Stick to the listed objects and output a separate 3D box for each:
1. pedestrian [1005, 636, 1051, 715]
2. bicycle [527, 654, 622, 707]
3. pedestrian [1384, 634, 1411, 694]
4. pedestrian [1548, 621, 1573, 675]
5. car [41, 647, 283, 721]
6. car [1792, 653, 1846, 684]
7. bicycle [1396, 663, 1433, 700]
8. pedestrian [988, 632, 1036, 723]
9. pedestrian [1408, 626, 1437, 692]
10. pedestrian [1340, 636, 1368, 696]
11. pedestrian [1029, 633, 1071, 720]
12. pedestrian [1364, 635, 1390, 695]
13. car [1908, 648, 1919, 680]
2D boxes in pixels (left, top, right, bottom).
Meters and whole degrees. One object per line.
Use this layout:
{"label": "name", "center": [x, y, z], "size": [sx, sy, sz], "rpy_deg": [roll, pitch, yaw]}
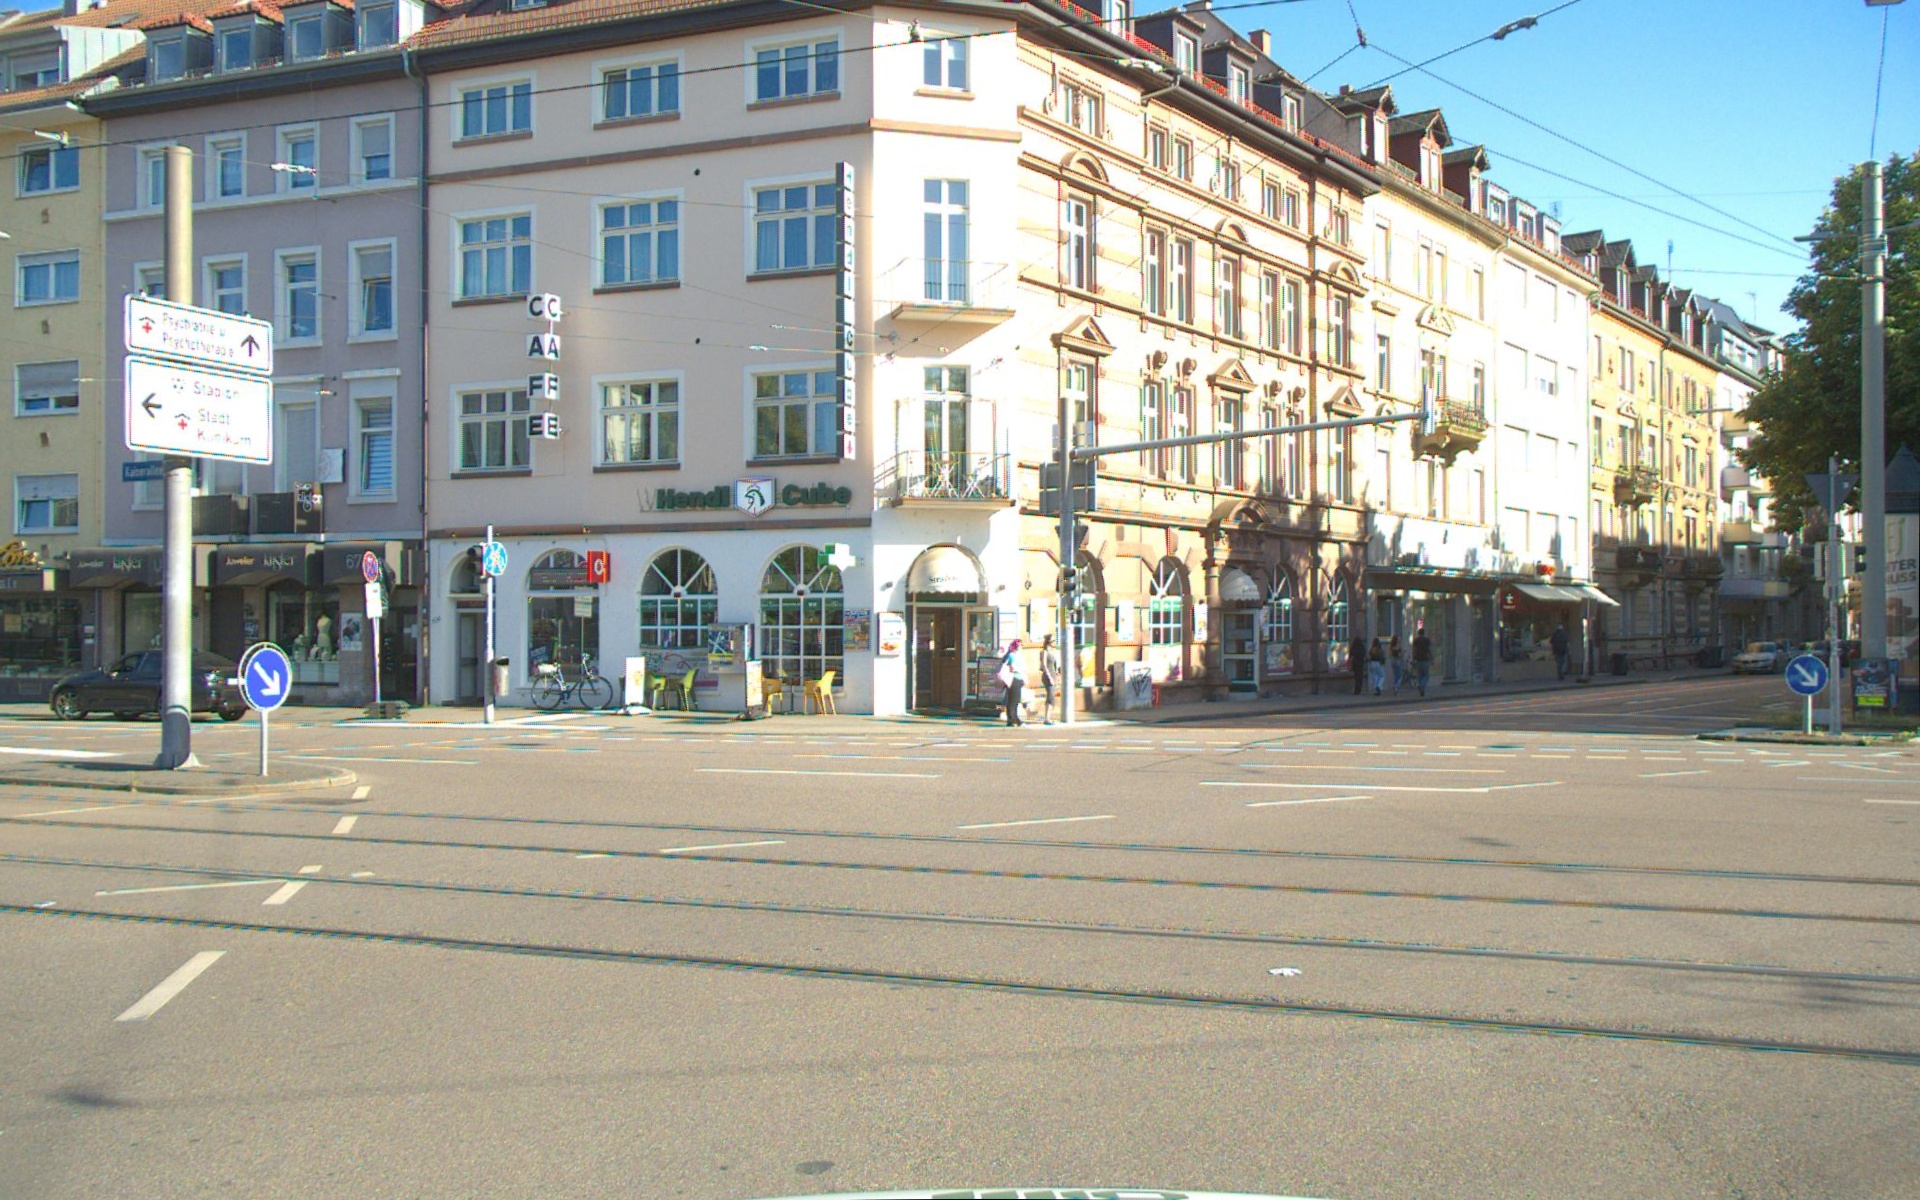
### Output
{"label": "pedestrian", "center": [1.353, 1.500, 32.901], "size": [0.649, 1.551, 0.689], "rpy_deg": [0, -2, -26]}
{"label": "bicycle", "center": [-8.145, 1.706, 34.987], "size": [1.902, 1.086, 0.584], "rpy_deg": [-1, -2, 14]}
{"label": "pedestrian", "center": [12.364, 1.796, 46.738], "size": [0.540, 1.671, 0.631], "rpy_deg": [-2, -2, 32]}
{"label": "pedestrian", "center": [21.812, 1.757, 60.048], "size": [0.671, 1.942, 0.630], "rpy_deg": [-2, -3, 37]}
{"label": "car", "center": [-16.463, 1.735, 34.140], "size": [4.542, 1.465, 1.745], "rpy_deg": [-1, -3, 18]}
{"label": "car", "center": [44.392, 3.543, 85.410], "size": [1.959, 1.523, 4.019], "rpy_deg": [-2, -2, 35]}
{"label": "bicycle", "center": [14.045, 2.517, 51.075], "size": [0.487, 1.086, 1.762], "rpy_deg": [-2, -2, 37]}
{"label": "pedestrian", "center": [0.965, 1.436, 30.698], "size": [0.663, 1.671, 0.576], "rpy_deg": [-2, -2, 34]}
{"label": "pedestrian", "center": [13.109, 1.667, 46.828], "size": [0.570, 1.868, 0.630], "rpy_deg": [-2, -3, 37]}
{"label": "pedestrian", "center": [11.125, 1.863, 46.681], "size": [0.616, 1.671, 0.536], "rpy_deg": [-2, -2, 33]}
{"label": "pedestrian", "center": [1.743, 1.477, 32.014], "size": [0.620, 1.671, 0.550], "rpy_deg": [-2, -2, 34]}
{"label": "pedestrian", "center": [11.706, 1.812, 46.432], "size": [0.540, 1.671, 0.536], "rpy_deg": [-2, -2, 32]}
{"label": "car", "center": [48.461, 3.078, 80.146], "size": [1.982, 1.573, 3.940], "rpy_deg": [1, -3, -41]}
